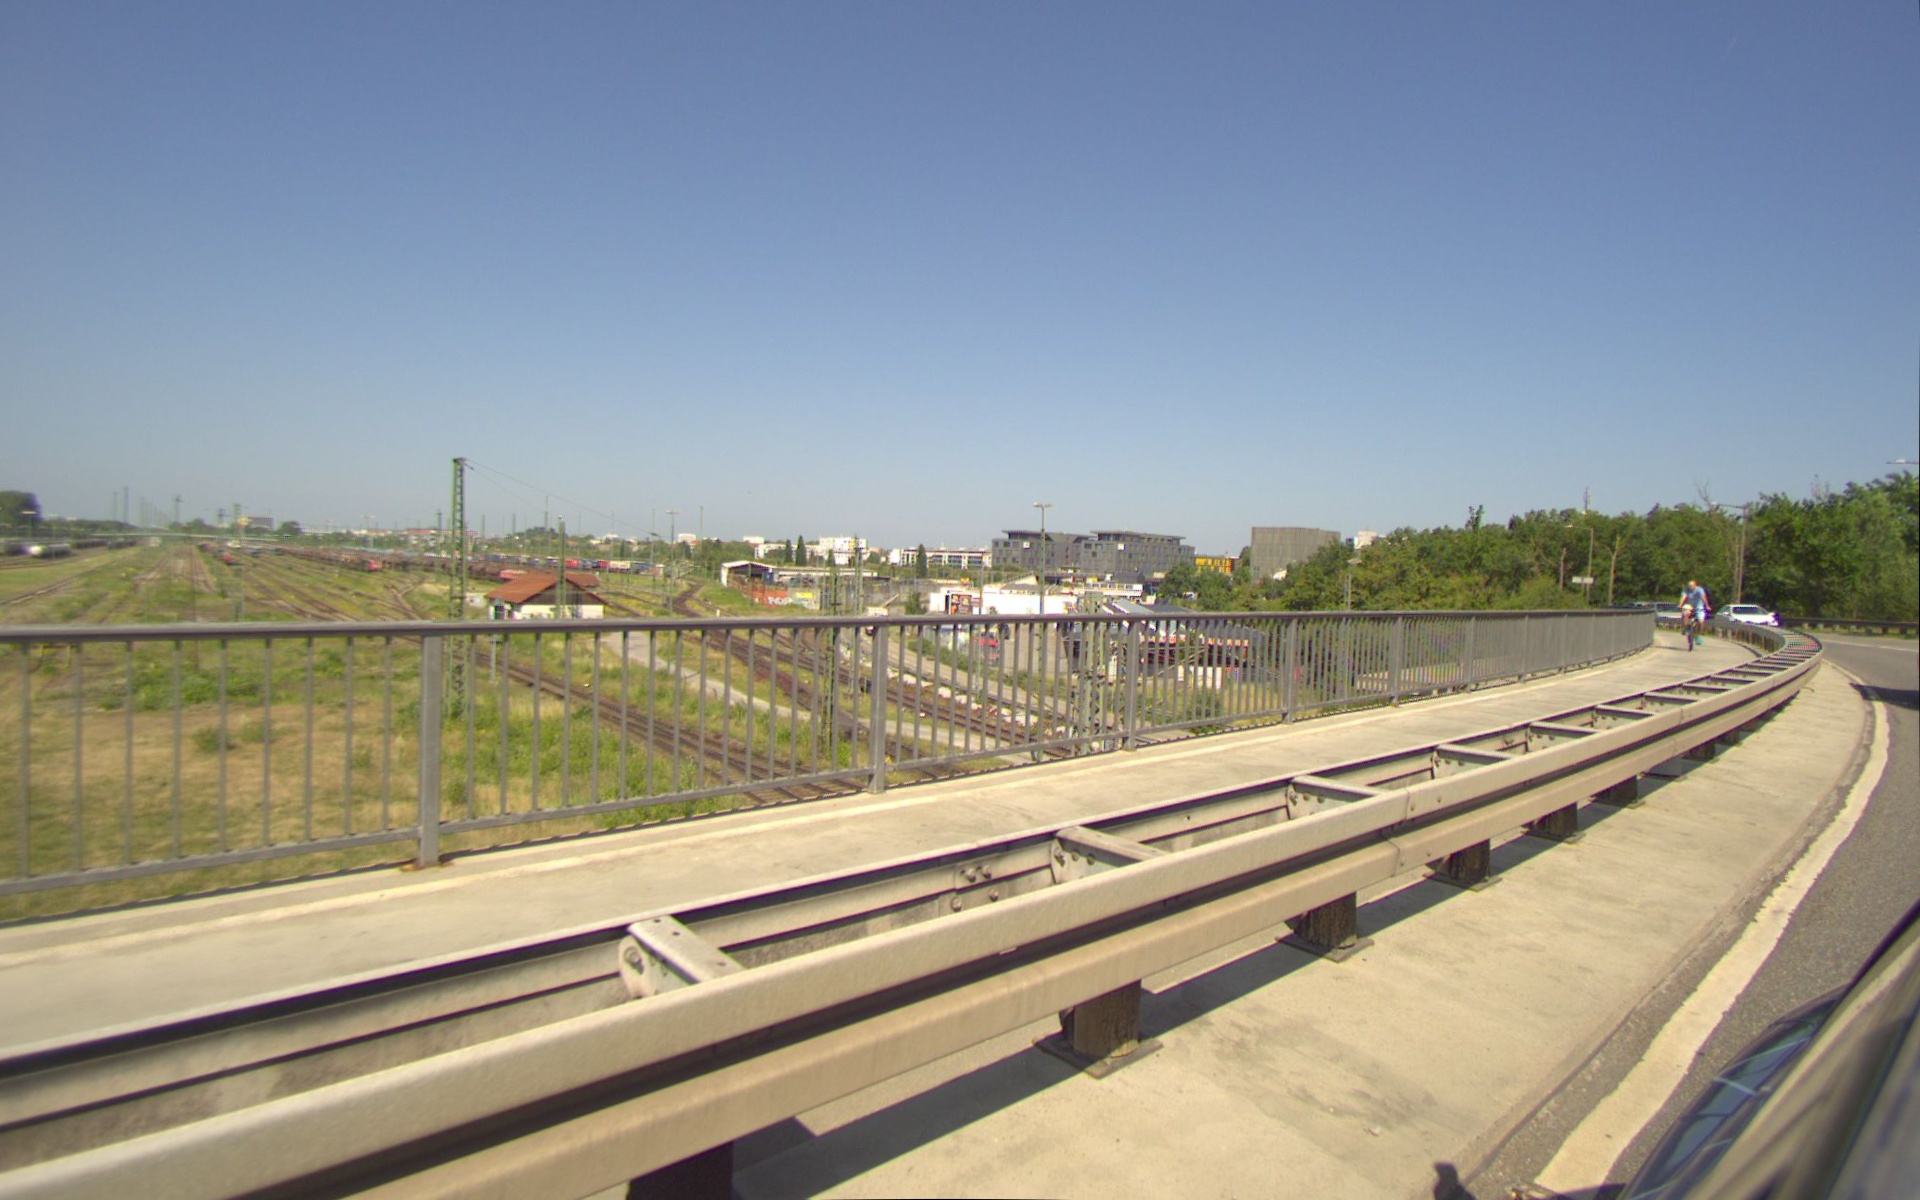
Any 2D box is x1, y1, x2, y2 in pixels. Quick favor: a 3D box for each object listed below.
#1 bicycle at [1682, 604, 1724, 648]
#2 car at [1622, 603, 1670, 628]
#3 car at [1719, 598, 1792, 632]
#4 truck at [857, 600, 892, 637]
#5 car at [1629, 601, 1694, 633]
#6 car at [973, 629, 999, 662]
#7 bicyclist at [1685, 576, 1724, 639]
[{"bbox_3d":[18.913,0.648,25.791,0.700,1.032,1.823,5,2,33],"label":"bicycle"},{"bbox_3d":[50.757,1.146,74.958,1.840,1.703,4.445,0,1,19],"label":"car"},{"bbox_3d":[37.557,0.684,47.887,1.828,1.507,4.115,1,0,26],"label":"car"},{"bbox_3d":[-11.419,2.275,133.452,3.745,4.079,13.293,3,1,-8],"label":"truck"},{"bbox_3d":[41.882,1.003,60.531,1.973,1.604,3.979,-5,0,17],"label":"car"},{"bbox_3d":[2.544,4.384,98.741,2.266,2.695,5.376,-4,2,3],"label":"car"},{"bbox_3d":[18.962,0.190,25.788,0.656,1.538,0.793,5,2,33],"label":"bicyclist"}]
